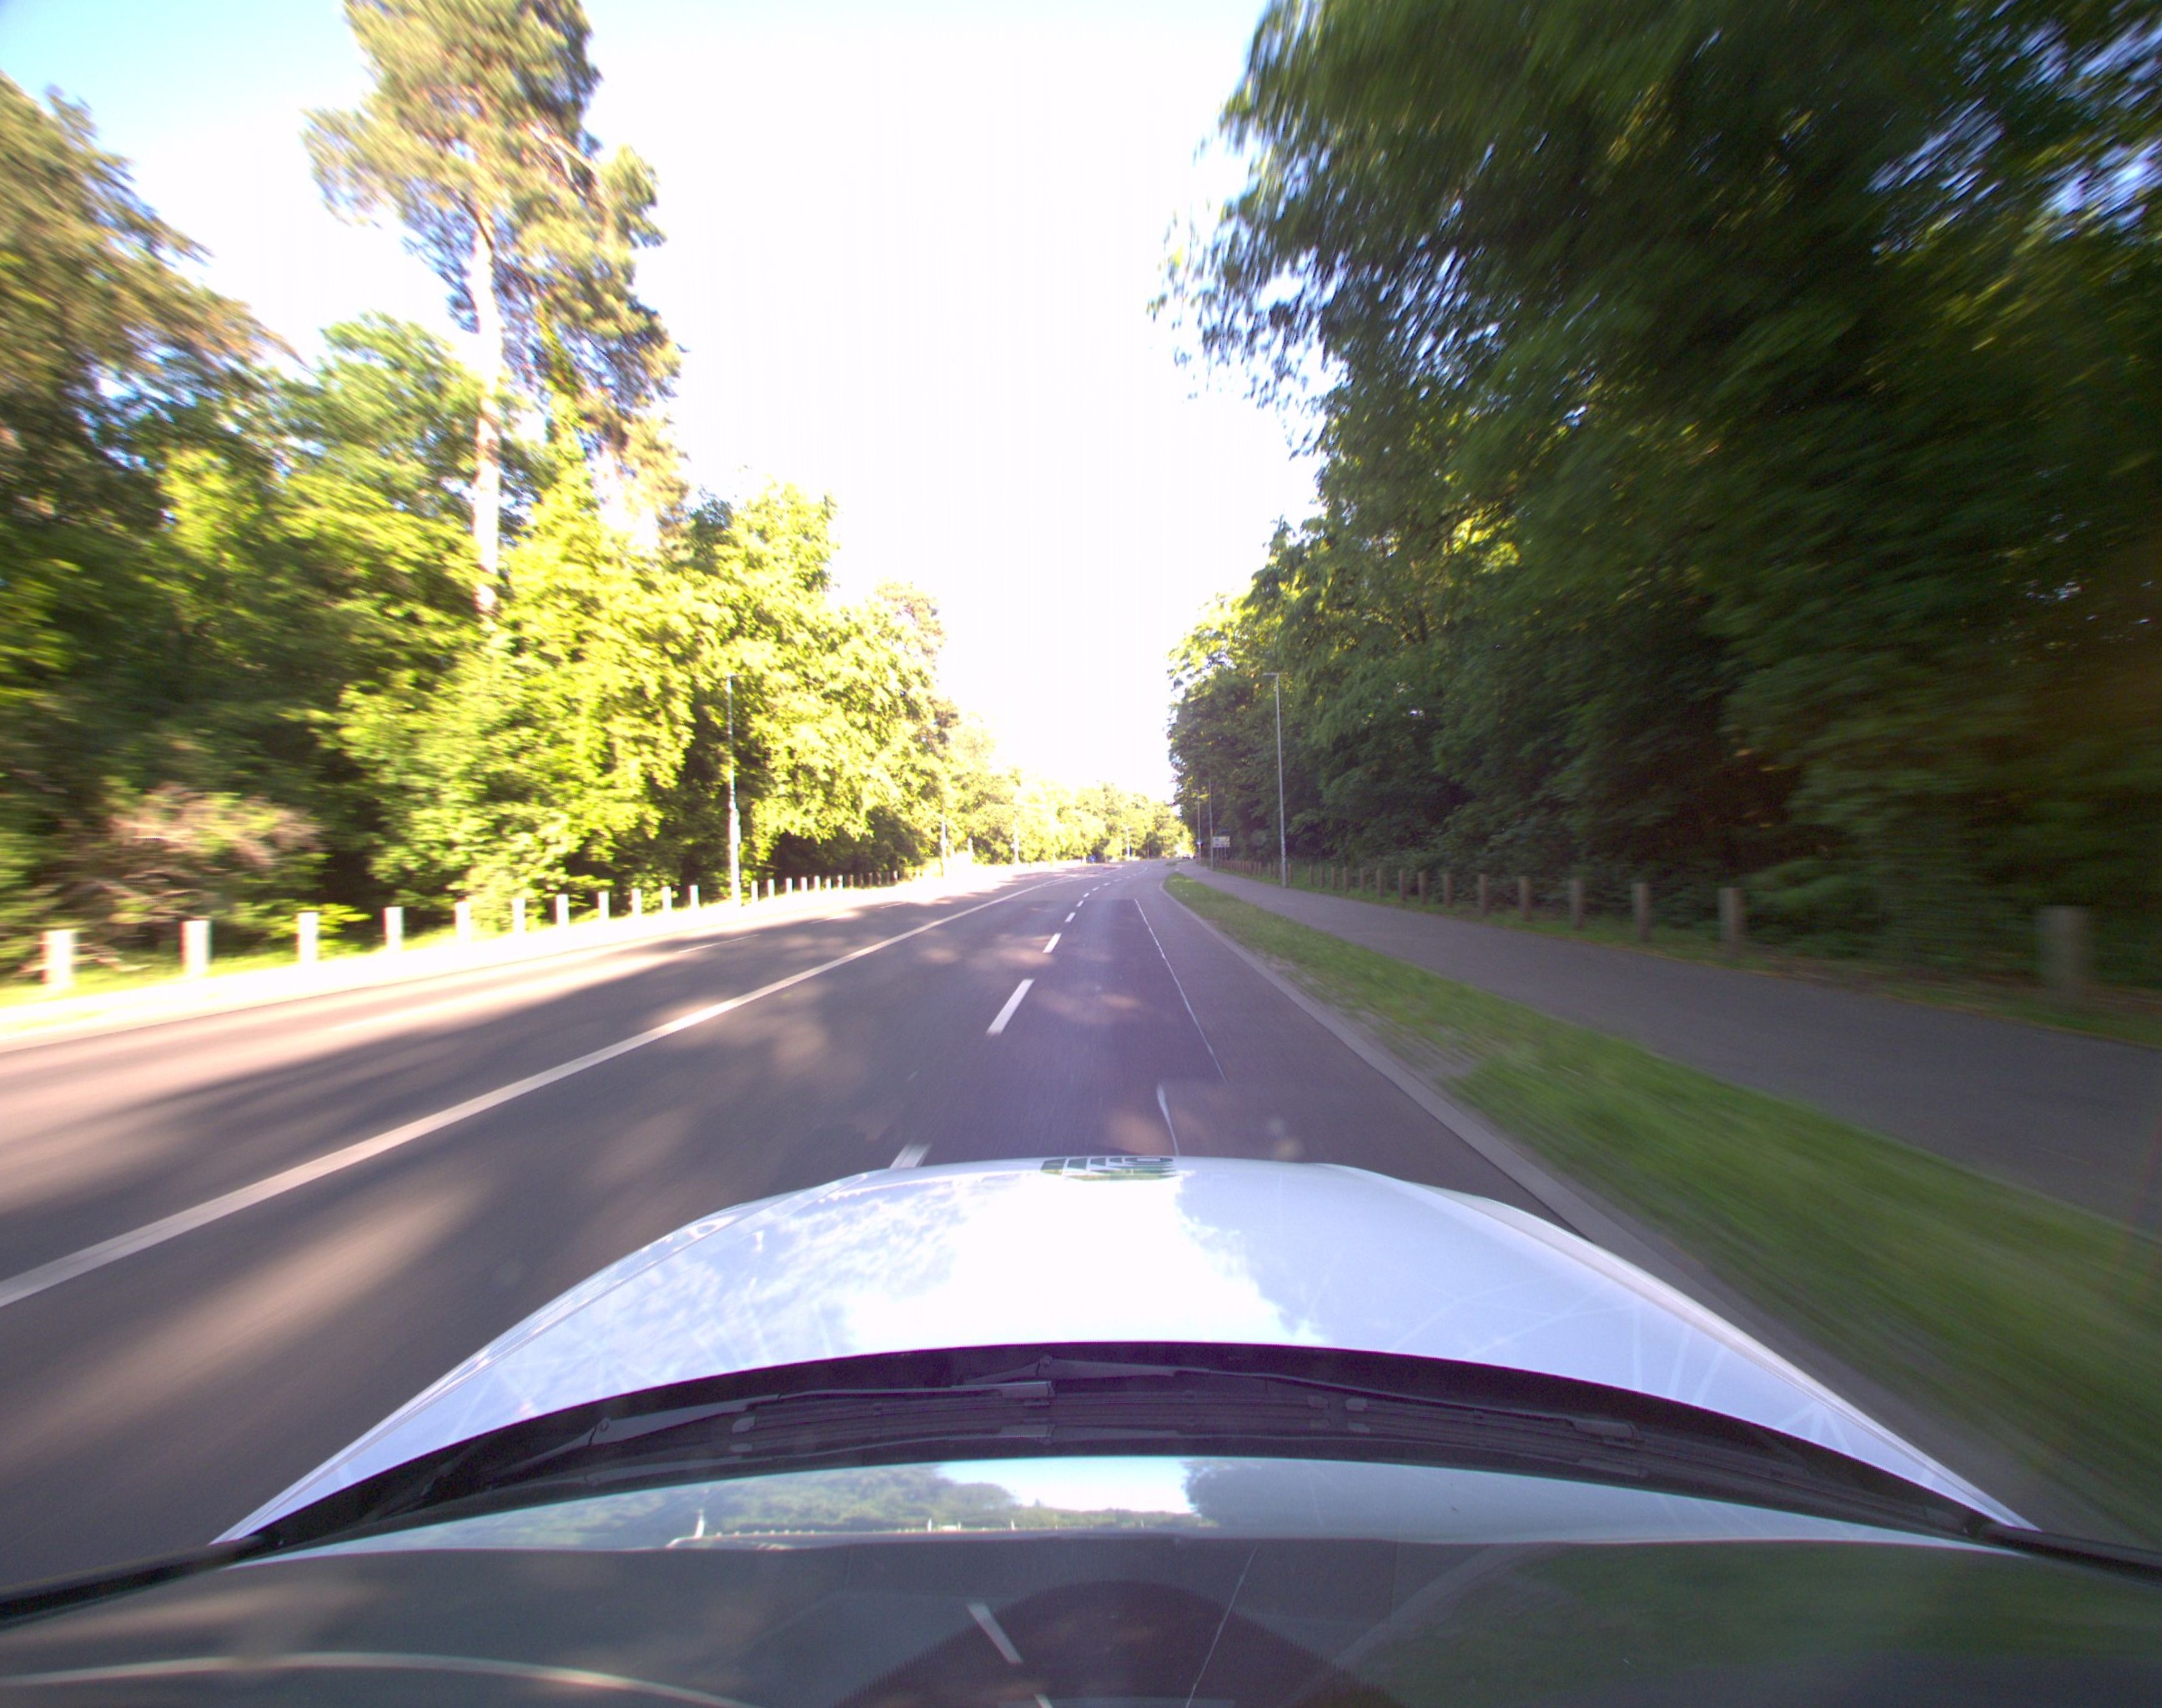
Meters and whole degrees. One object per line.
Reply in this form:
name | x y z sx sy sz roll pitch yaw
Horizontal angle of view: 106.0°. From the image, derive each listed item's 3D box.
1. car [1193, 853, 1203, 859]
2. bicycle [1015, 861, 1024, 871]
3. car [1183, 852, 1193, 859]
car | 32.916 0.582 228.721 1.865 1.765 4.019 -2 0 18
bicycle | -7.253 1.439 96.335 0.398 1.132 2.229 0 0 16
car | 28.586 0.457 217.548 1.865 1.709 4.019 -2 0 18
